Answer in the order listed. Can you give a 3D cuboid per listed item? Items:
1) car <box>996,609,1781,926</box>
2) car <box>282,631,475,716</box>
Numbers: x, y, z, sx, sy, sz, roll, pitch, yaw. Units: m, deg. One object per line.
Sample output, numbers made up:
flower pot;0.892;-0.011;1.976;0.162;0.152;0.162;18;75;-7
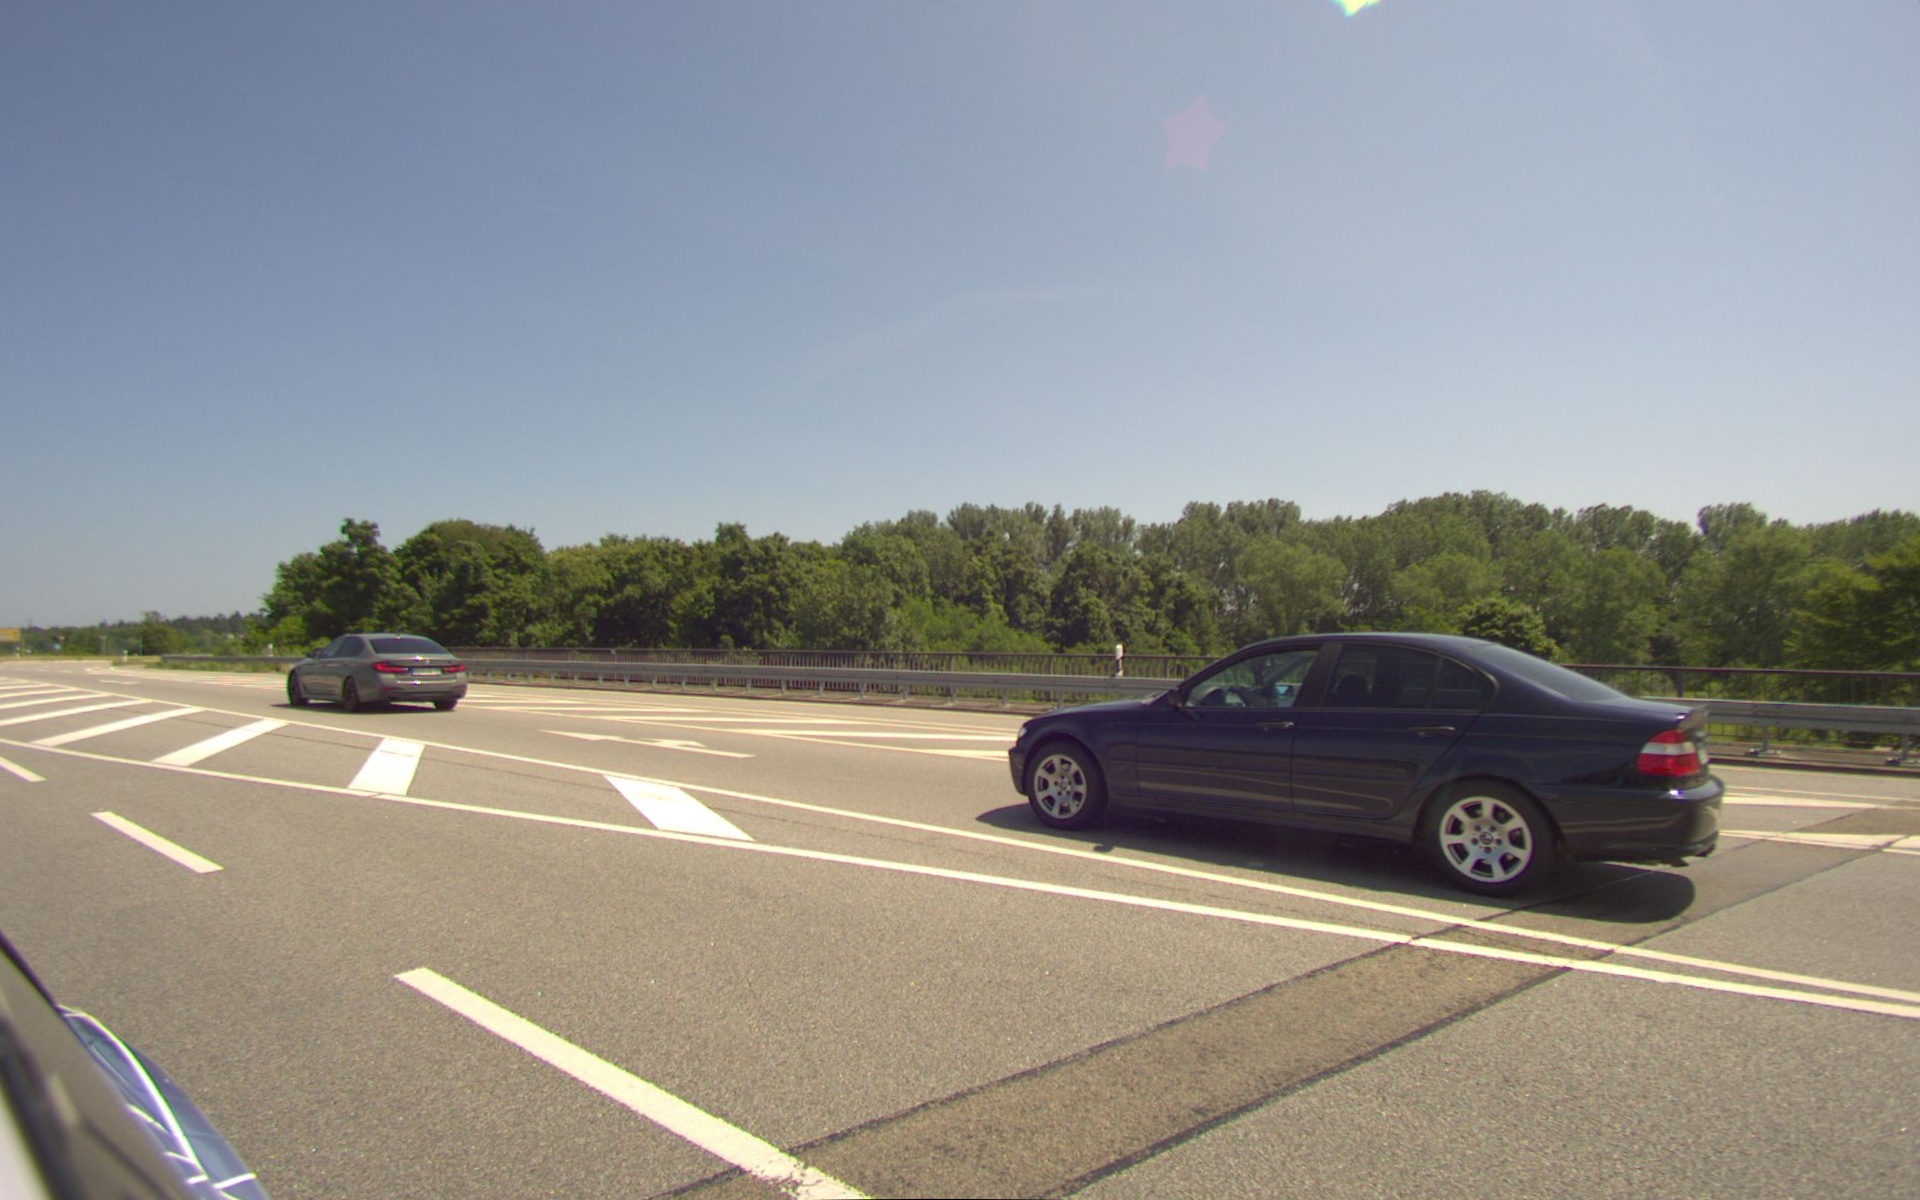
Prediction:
car;2.485;0.854;6.592;4.375;1.412;1.717;-2;-4;39
car;-11.373;1.380;19.656;4.791;1.464;1.706;-2;-4;40
